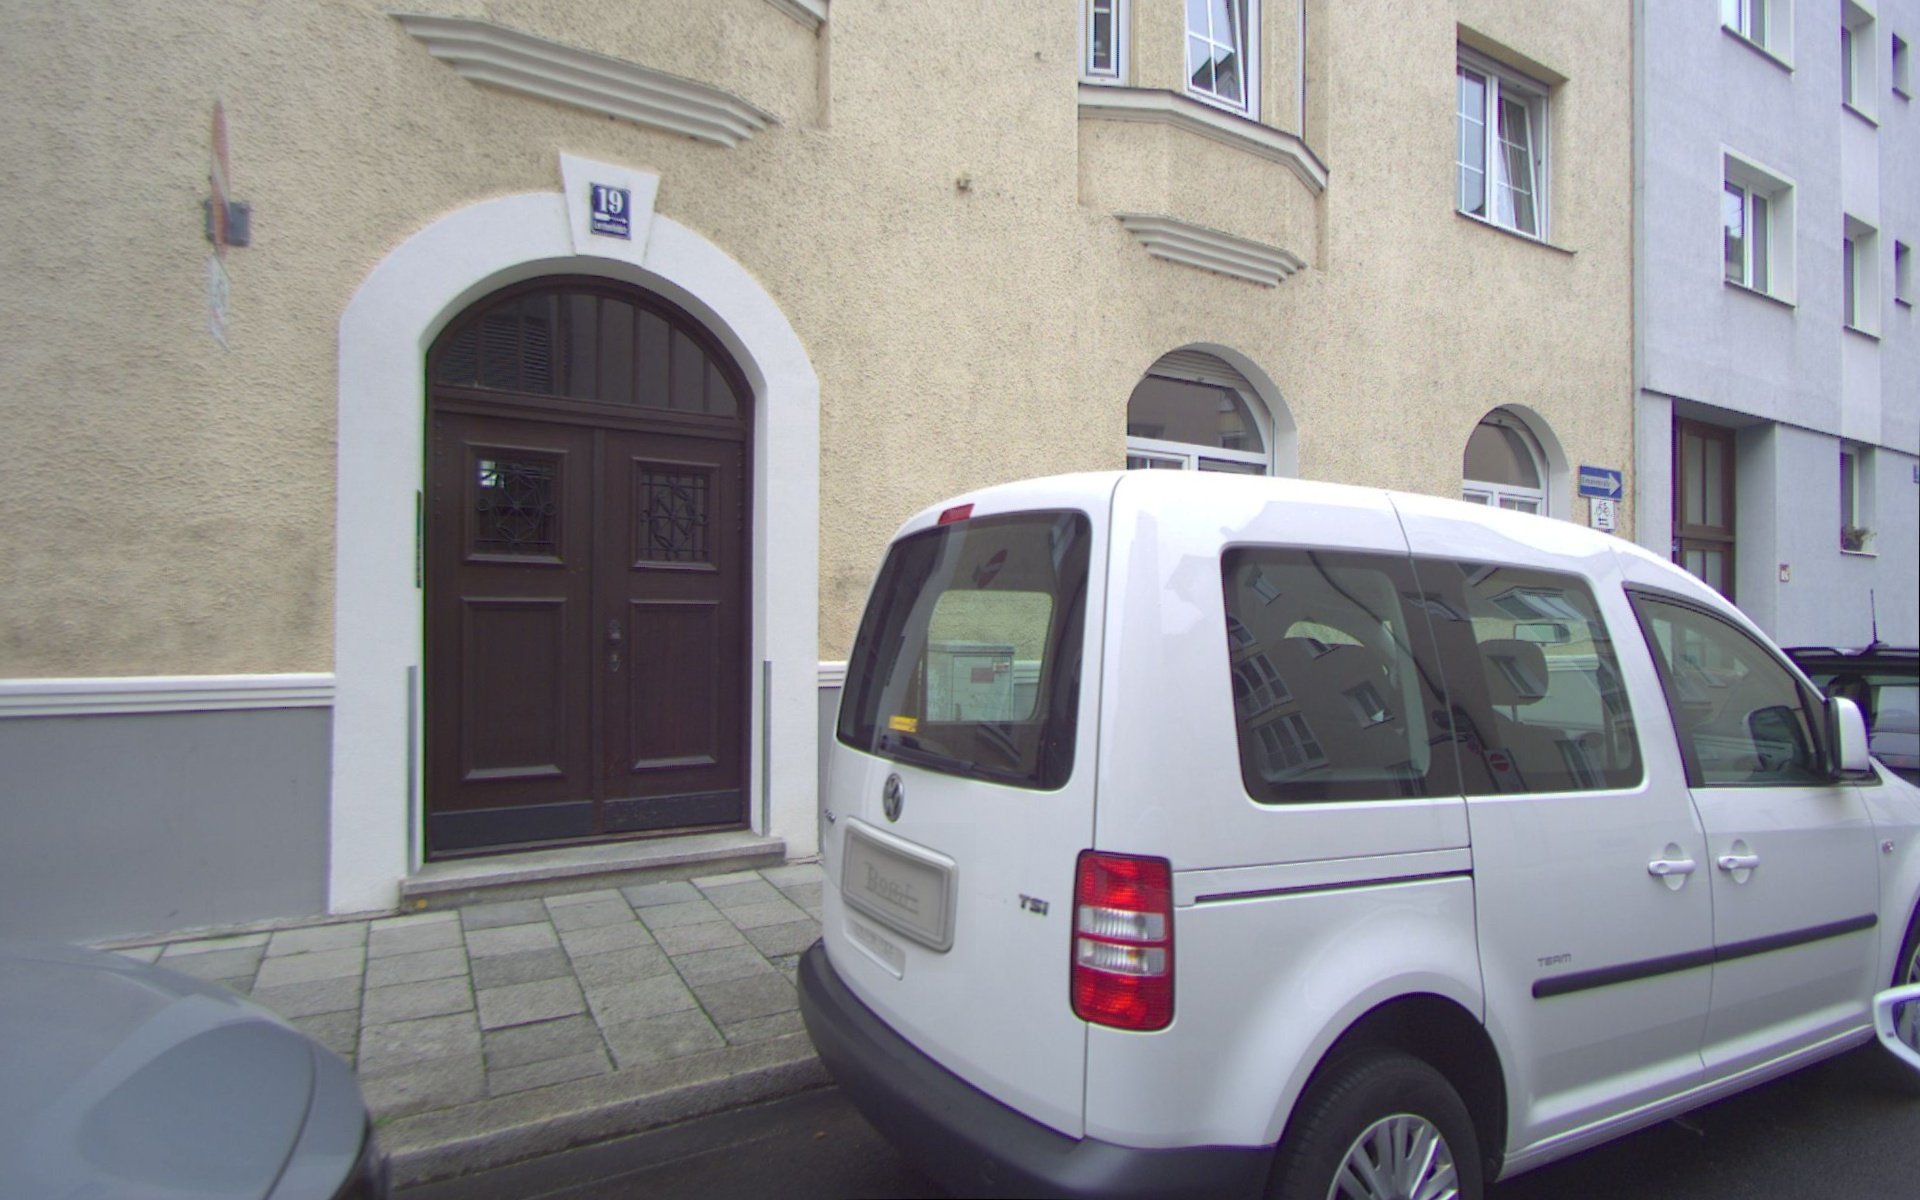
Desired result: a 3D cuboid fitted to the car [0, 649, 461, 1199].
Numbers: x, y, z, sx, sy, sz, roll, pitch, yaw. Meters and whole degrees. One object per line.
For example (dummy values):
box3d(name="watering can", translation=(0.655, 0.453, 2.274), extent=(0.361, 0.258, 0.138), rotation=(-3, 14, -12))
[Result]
box3d(name="car", translation=(-2.634, 0.758, 0.614), extent=(4.063, 1.494, 1.665), rotation=(3, -4, -30))

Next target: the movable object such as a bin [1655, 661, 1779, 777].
box3d(name="movable object such as a bin", translation=(7.844, 1.202, 10.422), extent=(0.615, 1.065, 0.803), rotation=(1, 2, -30))

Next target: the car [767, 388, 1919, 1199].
box3d(name="car", translation=(1.659, 0.688, 3.348), extent=(4.197, 1.812, 1.717), rotation=(2, -4, -29))

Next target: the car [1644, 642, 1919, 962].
box3d(name="car", translation=(5.751, 0.997, 5.730), extent=(3.692, 1.429, 1.644), rotation=(3, -4, -31))
